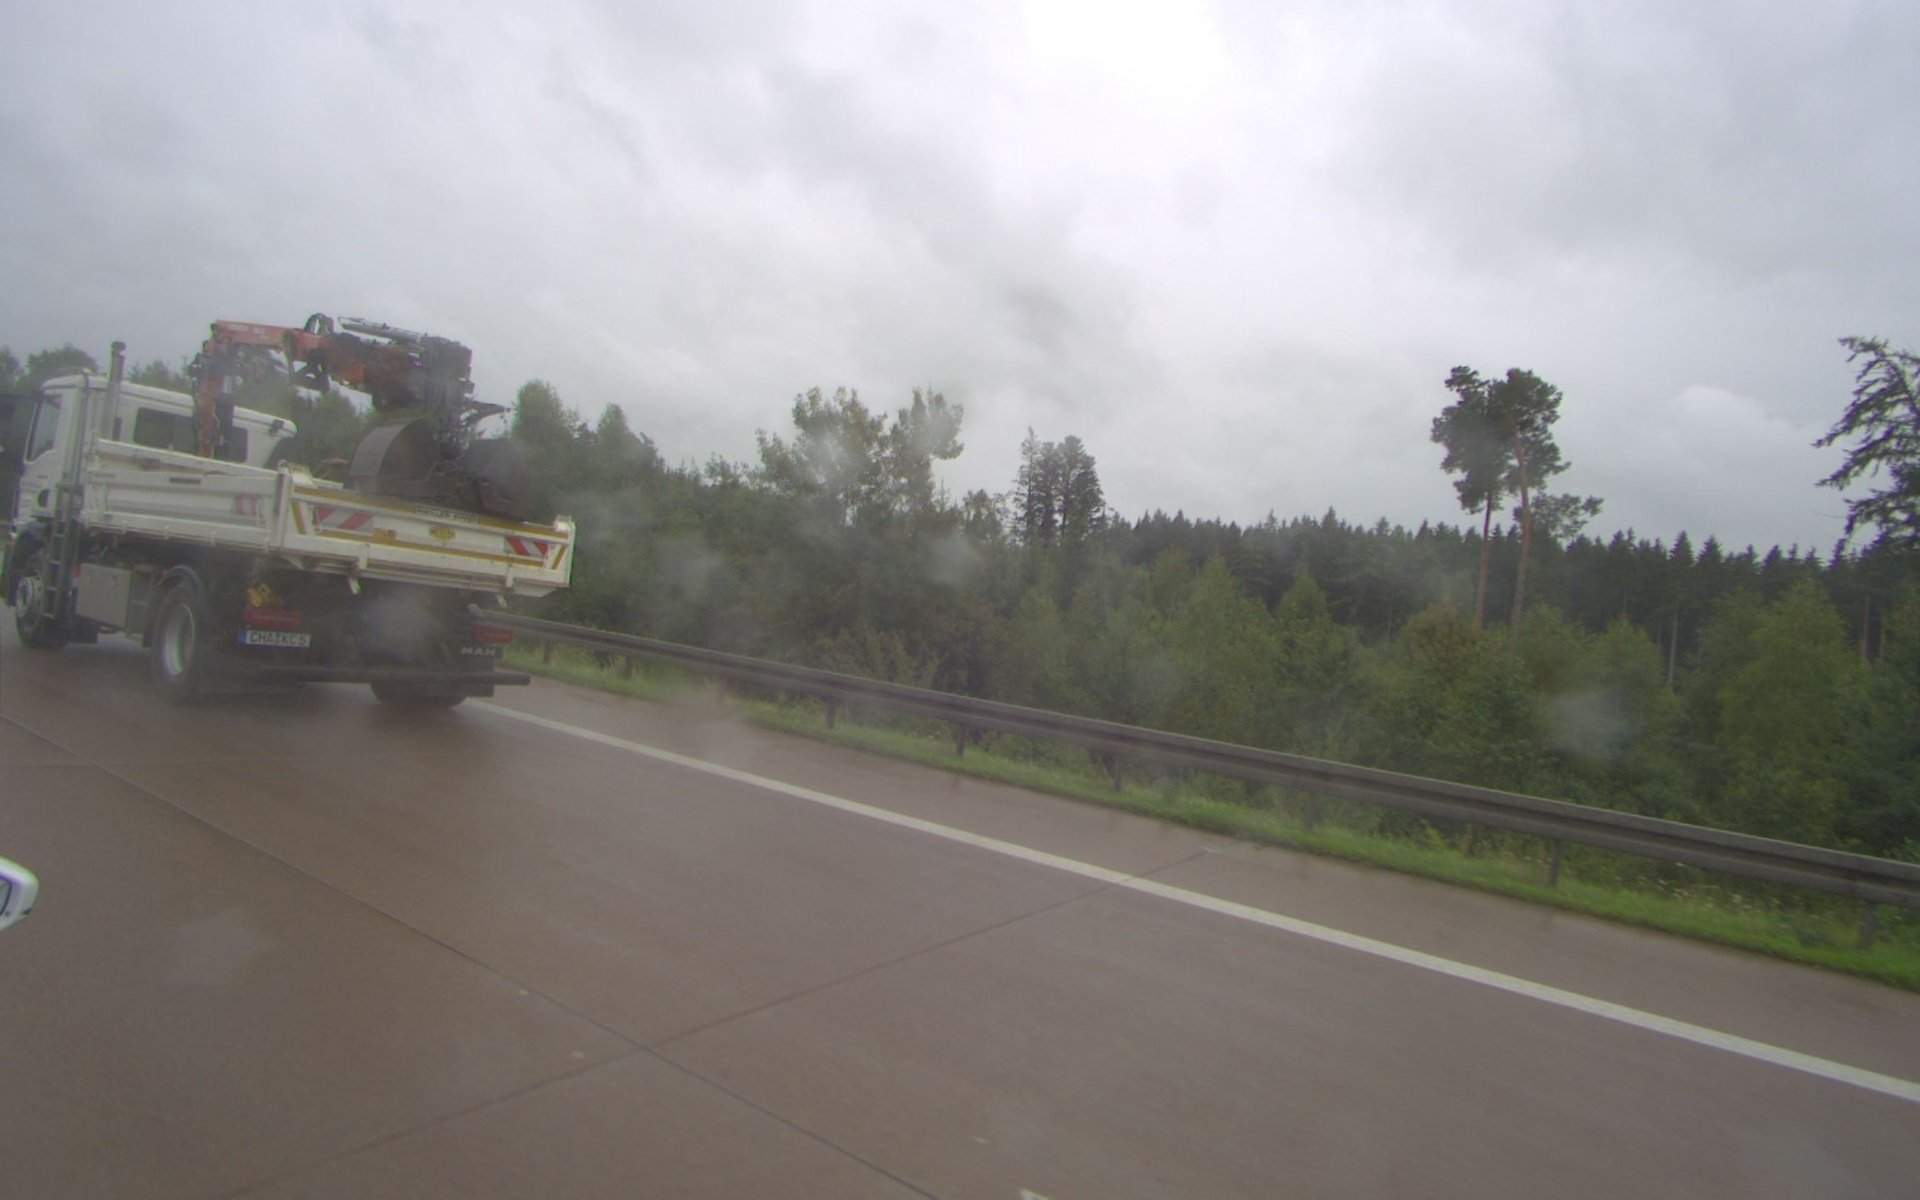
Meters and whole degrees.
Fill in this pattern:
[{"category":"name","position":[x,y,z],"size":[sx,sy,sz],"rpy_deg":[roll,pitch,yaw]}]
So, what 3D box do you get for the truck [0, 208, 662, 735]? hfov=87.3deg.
[{"category":"truck","position":[-7.273,-1.136,10.642],"size":[7.825,3.773,3.239],"rpy_deg":[7,-1,33]}]
